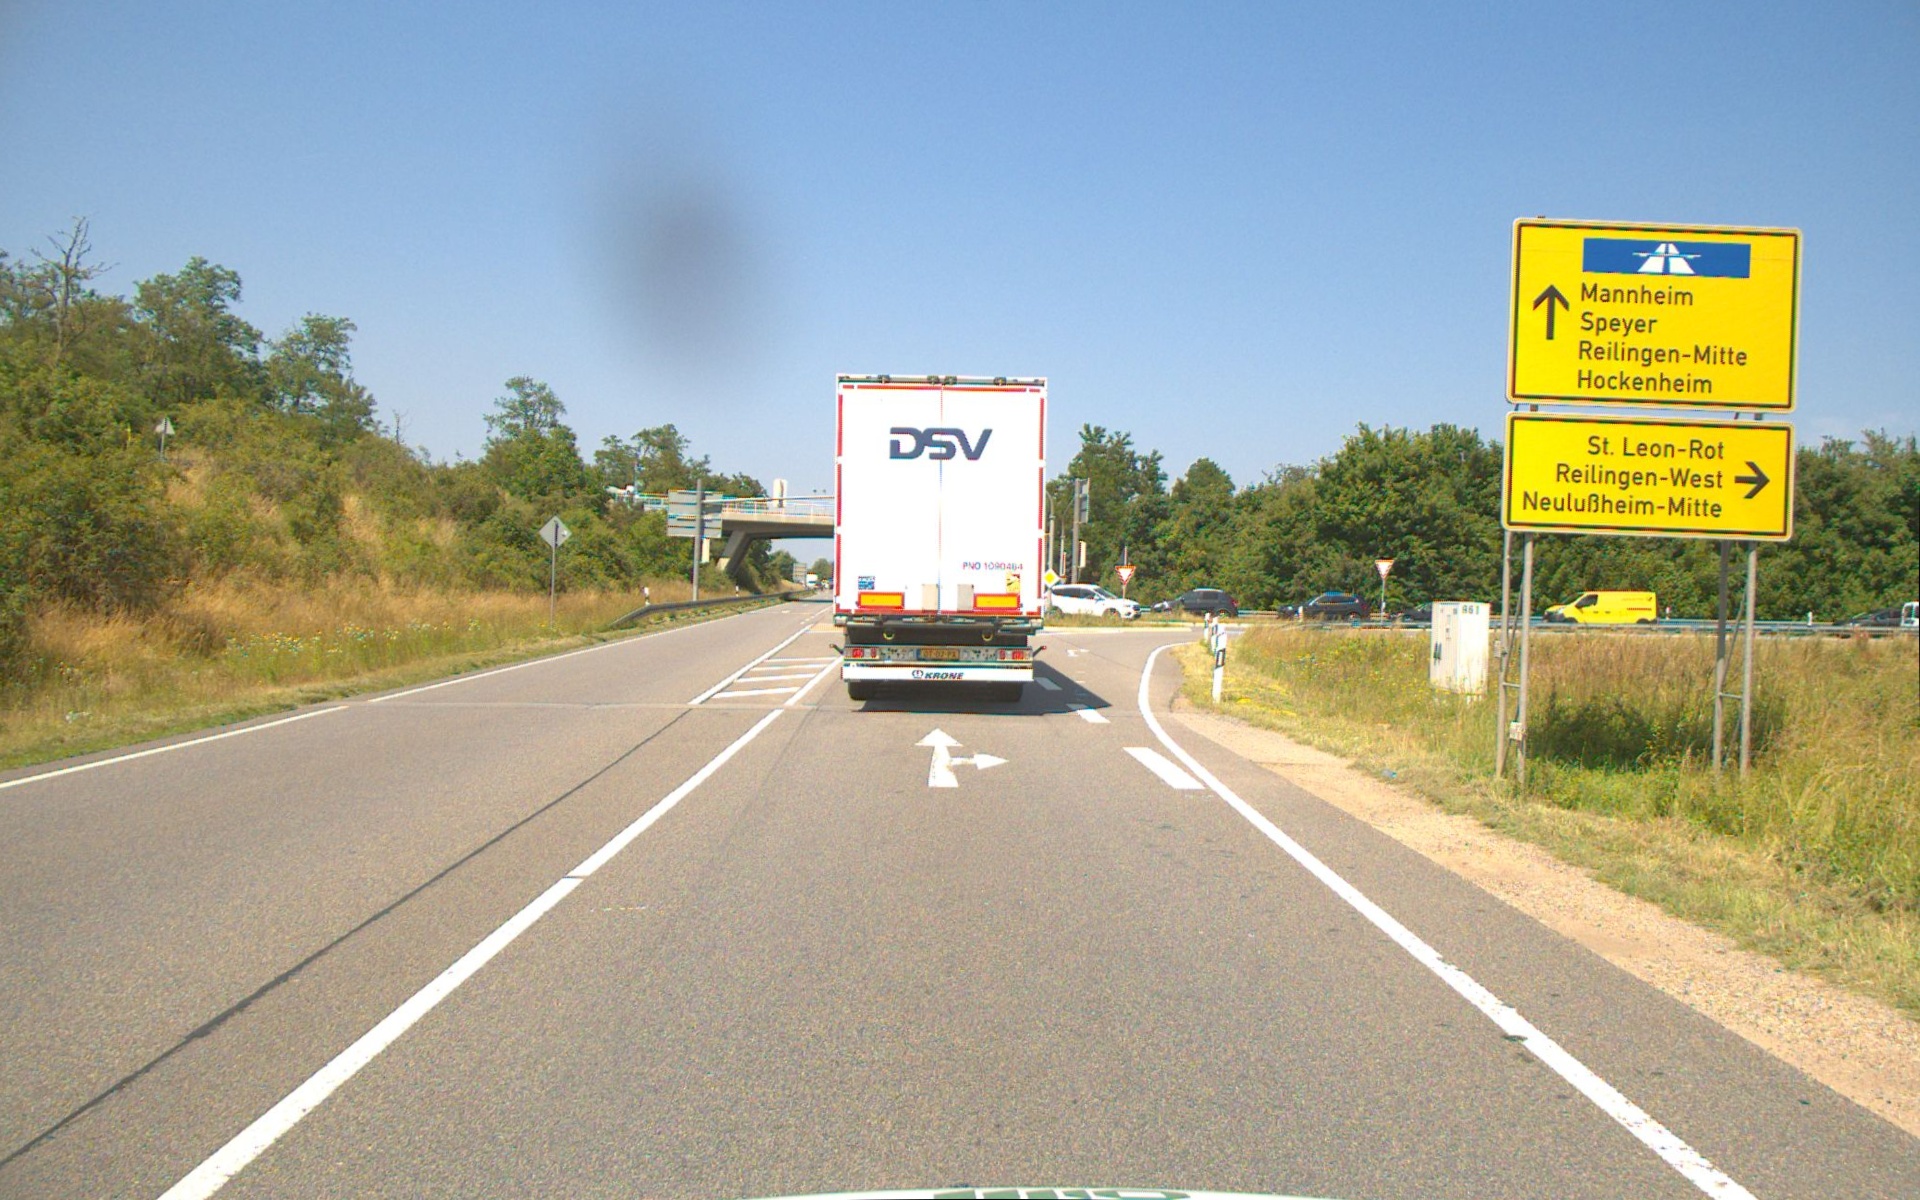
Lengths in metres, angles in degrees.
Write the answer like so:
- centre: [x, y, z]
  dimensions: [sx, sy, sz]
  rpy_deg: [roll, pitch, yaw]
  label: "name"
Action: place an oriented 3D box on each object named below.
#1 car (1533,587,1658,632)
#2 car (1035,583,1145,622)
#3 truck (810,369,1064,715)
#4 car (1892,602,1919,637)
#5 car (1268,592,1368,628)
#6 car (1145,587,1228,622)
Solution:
- centre: [30.361, 0.451, 79.135]
  dimensions: [5.213, 2.049, 2.000]
  rpy_deg: [1, 0, 0]
  label: "car"
- centre: [5.603, 0.103, 71.266]
  dimensions: [4.379, 1.594, 1.738]
  rpy_deg: [1, 0, 24]
  label: "car"
- centre: [-0.387, -0.689, 24.390]
  dimensions: [2.927, 4.011, 9.872]
  rpy_deg: [1, 0, -1]
  label: "truck"
- centre: [44.924, 0.905, 75.483]
  dimensions: [3.911, 1.597, 1.715]
  rpy_deg: [1, 0, -7]
  label: "car"
- centre: [17.148, 0.471, 79.336]
  dimensions: [4.393, 1.626, 1.768]
  rpy_deg: [1, 0, 2]
  label: "car"
- centre: [11.101, 0.221, 81.280]
  dimensions: [3.901, 1.668, 1.842]
  rpy_deg: [1, 0, 5]
  label: "car"
